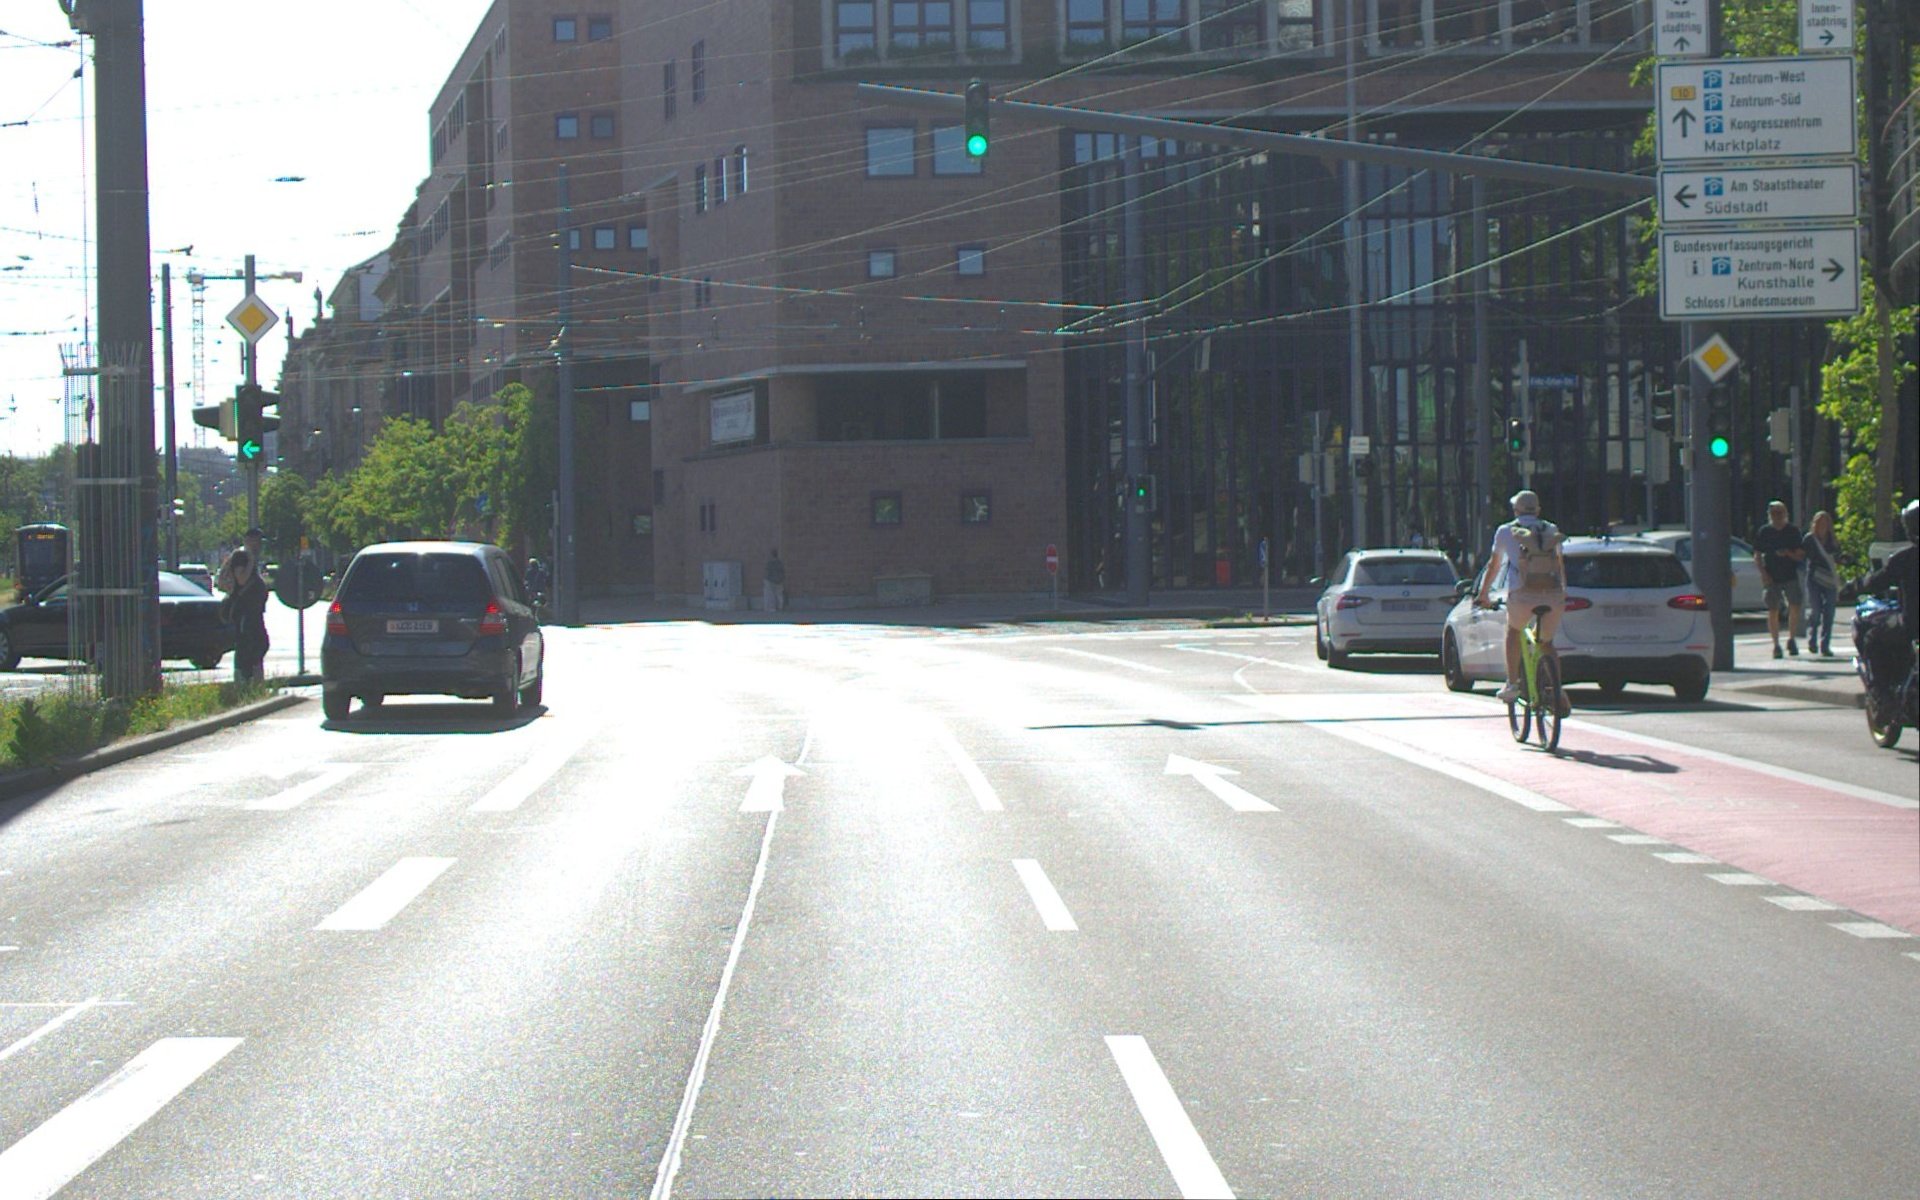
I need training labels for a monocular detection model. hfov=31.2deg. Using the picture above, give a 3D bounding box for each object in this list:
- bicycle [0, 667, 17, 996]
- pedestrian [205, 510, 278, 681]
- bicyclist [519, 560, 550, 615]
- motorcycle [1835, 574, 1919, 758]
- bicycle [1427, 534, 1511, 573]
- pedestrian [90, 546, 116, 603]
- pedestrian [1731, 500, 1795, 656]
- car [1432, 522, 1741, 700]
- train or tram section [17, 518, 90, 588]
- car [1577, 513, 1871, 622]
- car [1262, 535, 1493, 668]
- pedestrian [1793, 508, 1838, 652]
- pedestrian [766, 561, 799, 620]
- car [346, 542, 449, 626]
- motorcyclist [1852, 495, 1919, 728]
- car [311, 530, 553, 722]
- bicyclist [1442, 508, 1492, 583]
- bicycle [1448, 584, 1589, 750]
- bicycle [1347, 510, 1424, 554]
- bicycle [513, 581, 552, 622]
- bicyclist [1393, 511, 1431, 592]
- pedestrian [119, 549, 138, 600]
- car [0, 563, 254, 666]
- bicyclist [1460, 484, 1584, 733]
[{"bbox_3d":[-3.439,0.777,10.028,0.686,1.066,2.697,1,1,-1],"label":"bicycle"},{"bbox_3d":[-7.447,-0.052,35.622,0.669,1.747,0.769,-1,1,-14],"label":"pedestrian"},{"bbox_3d":[-10.585,-0.311,85.488,0.592,1.331,0.933,-1,0,-16],"label":"bicyclist"},{"bbox_3d":[6.653,0.428,23.128,0.829,1.197,2.390,0,0,-2],"label":"motorcycle"},{"bbox_3d":[11.200,-1.023,75.624,1.668,0.803,0.673,-2,1,-13],"label":"bicycle"},{"bbox_3d":[-26.059,-0.780,104.481,0.614,1.663,0.864,-4,2,-17],"label":"pedestrian"},{"bbox_3d":[9.405,-0.264,40.250,0.638,1.792,0.608,-2,2,16],"label":"pedestrian"},{"bbox_3d":[5.948,0.055,33.126,1.906,1.578,4.139,1,1,-5],"label":"car"},{"bbox_3d":[-40.790,-2.141,154.980,2.326,2.993,13.164,-1,1,-11],"label":"train or tram section"},{"bbox_3d":[11.884,-0.510,53.554,3.986,1.578,1.913,0,2,-15],"label":"car"},{"bbox_3d":[5.173,-0.019,43.167,1.905,1.536,4.139,1,1,-7],"label":"car"},{"bbox_3d":[9.984,-0.238,40.113,0.427,1.640,0.562,-2,2,16],"label":"pedestrian"},{"bbox_3d":[-4.679,-0.252,90.657,0.617,1.558,0.987,-1,0,-17],"label":"pedestrian"},{"bbox_3d":[-13.774,-0.395,84.034,1.993,1.941,4.001,-1,1,-16],"label":"car"},{"bbox_3d":[6.627,0.073,23.405,0.829,1.556,0.942,0,0,-2],"label":"motorcyclist"},{"bbox_3d":[-4.619,0.186,30.492,1.726,1.558,3.678,-1,1,-3],"label":"car"},{"bbox_3d":[11.148,-1.196,75.604,0.862,1.624,0.672,-2,1,-13],"label":"bicyclist"},{"bbox_3d":[4.043,0.465,25.001,0.649,1.106,1.758,-1,2,-3],"label":"bicycle"},{"bbox_3d":[10.000,-1.588,80.748,1.668,0.991,0.673,-2,1,-22],"label":"bicycle"},{"bbox_3d":[-10.687,0.034,85.878,0.603,0.982,2.315,-1,1,-16],"label":"bicycle"},{"bbox_3d":[10.641,-1.137,80.913,0.605,1.877,0.651,-2,1,-22],"label":"bicyclist"},{"bbox_3d":[-27.466,-0.843,113.612,0.538,1.649,0.707,-1,1,-16],"label":"pedestrian"},{"bbox_3d":[-12.853,0.217,50.924,4.512,1.444,1.730,-1,1,24],"label":"car"},{"bbox_3d":[4.047,0.043,24.812,0.649,1.746,1.045,-1,2,-3],"label":"bicyclist"}]
